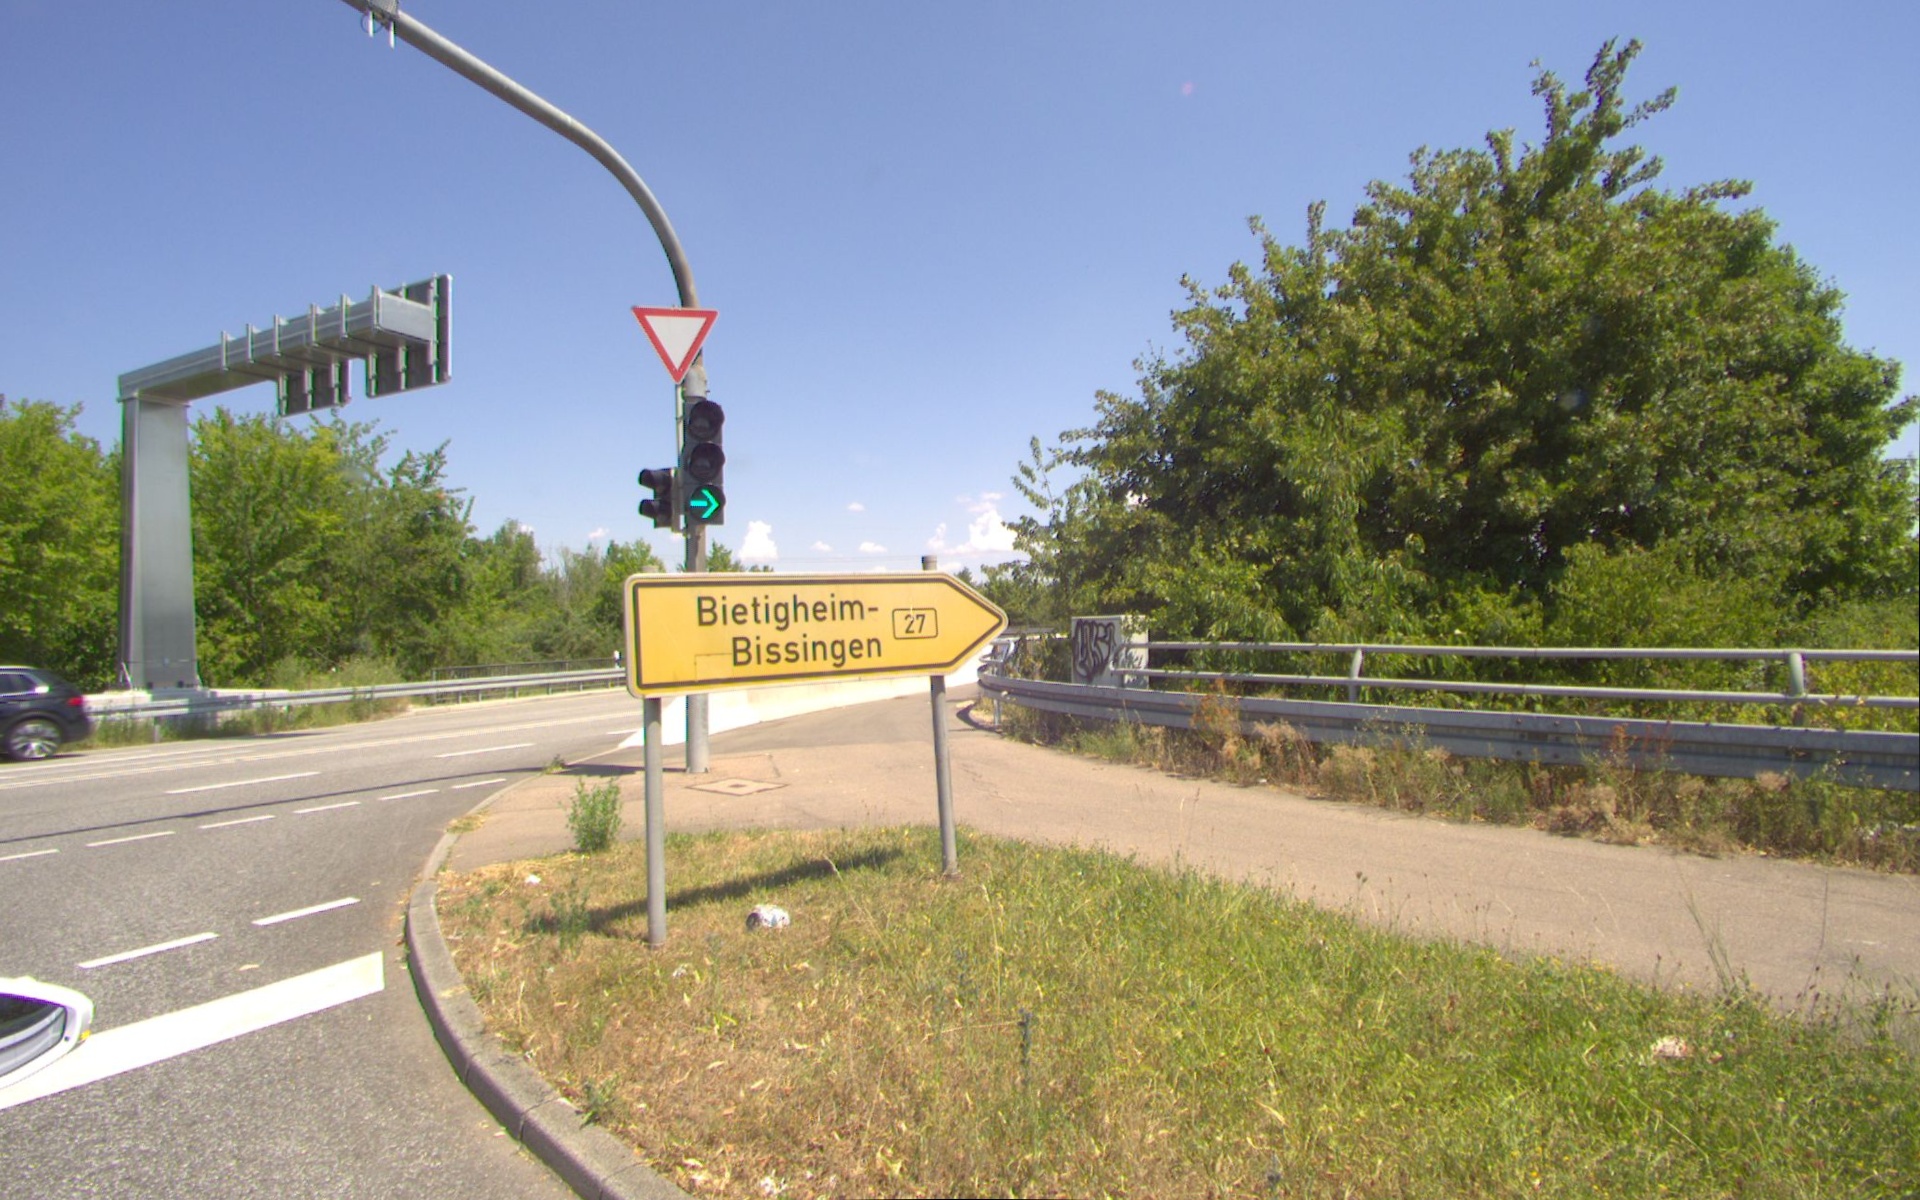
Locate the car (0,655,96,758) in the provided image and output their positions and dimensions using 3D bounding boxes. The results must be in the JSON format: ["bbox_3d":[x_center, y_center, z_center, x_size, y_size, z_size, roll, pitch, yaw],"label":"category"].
[{"bbox_3d":[-17.235,1.862,16.453,1.880,1.652,4.251,-5,-3,33],"label":"car"}]
